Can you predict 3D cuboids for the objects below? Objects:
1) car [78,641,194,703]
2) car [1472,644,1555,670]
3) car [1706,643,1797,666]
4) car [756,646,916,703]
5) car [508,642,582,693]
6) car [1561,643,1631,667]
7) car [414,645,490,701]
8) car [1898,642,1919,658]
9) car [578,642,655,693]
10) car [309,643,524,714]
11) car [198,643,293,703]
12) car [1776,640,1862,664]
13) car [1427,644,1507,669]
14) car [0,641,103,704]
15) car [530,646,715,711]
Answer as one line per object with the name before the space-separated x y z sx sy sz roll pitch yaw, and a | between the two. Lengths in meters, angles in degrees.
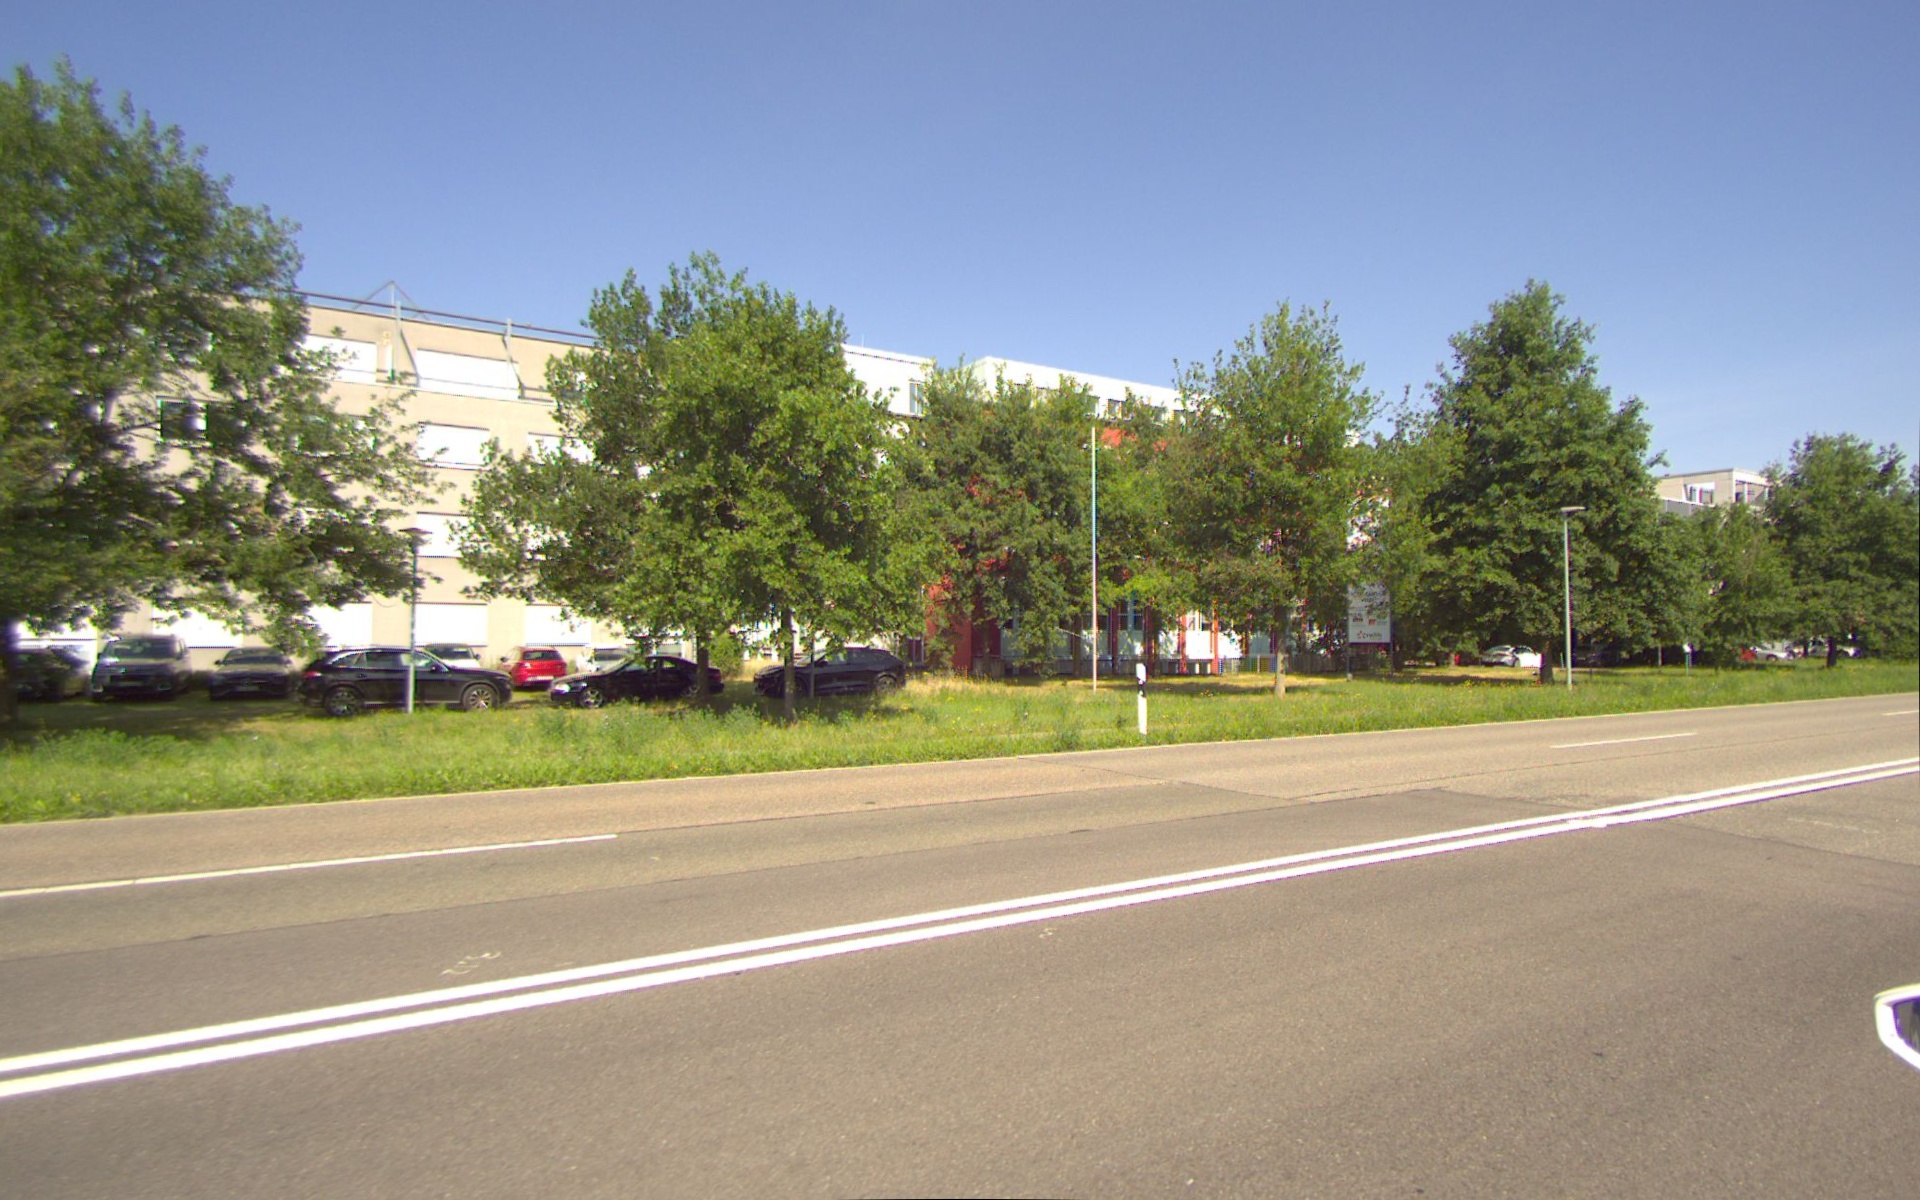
car | -22.833 1.939 28.003 1.866 1.557 3.968 1 -2 -31
car | 32.783 3.355 59.481 4.894 1.456 1.985 1 -2 -29
car | 54.555 3.716 69.342 1.976 1.456 4.574 1 -2 -30
car | -3.718 2.197 30.397 4.495 1.599 1.735 1 -2 -31
car | -13.898 2.189 33.521 1.722 1.557 3.968 1 -2 -30
car | 41.059 3.543 64.847 4.556 1.456 1.984 1 -2 -31
car | -16.018 2.235 31.599 1.866 1.557 3.968 1 -2 -31
car | 87.269 4.473 89.833 1.976 1.456 4.574 1 -2 -30
car | -11.899 2.263 34.653 1.722 1.606 4.115 1 -2 -30
car | -13.259 1.866 24.705 4.495 1.599 1.735 1 -2 -31
car | -20.670 2.061 29.194 1.866 1.557 3.968 1 -2 -31
car | 64.613 3.894 75.642 1.976 1.672 4.574 1 -2 -30
car | 31.010 3.423 61.443 4.894 1.456 1.985 1 -2 -29
car | -24.906 1.898 27.199 1.866 1.557 3.968 1 -2 -31
car | -9.122 2.067 27.248 4.495 1.599 1.735 1 -2 -31
